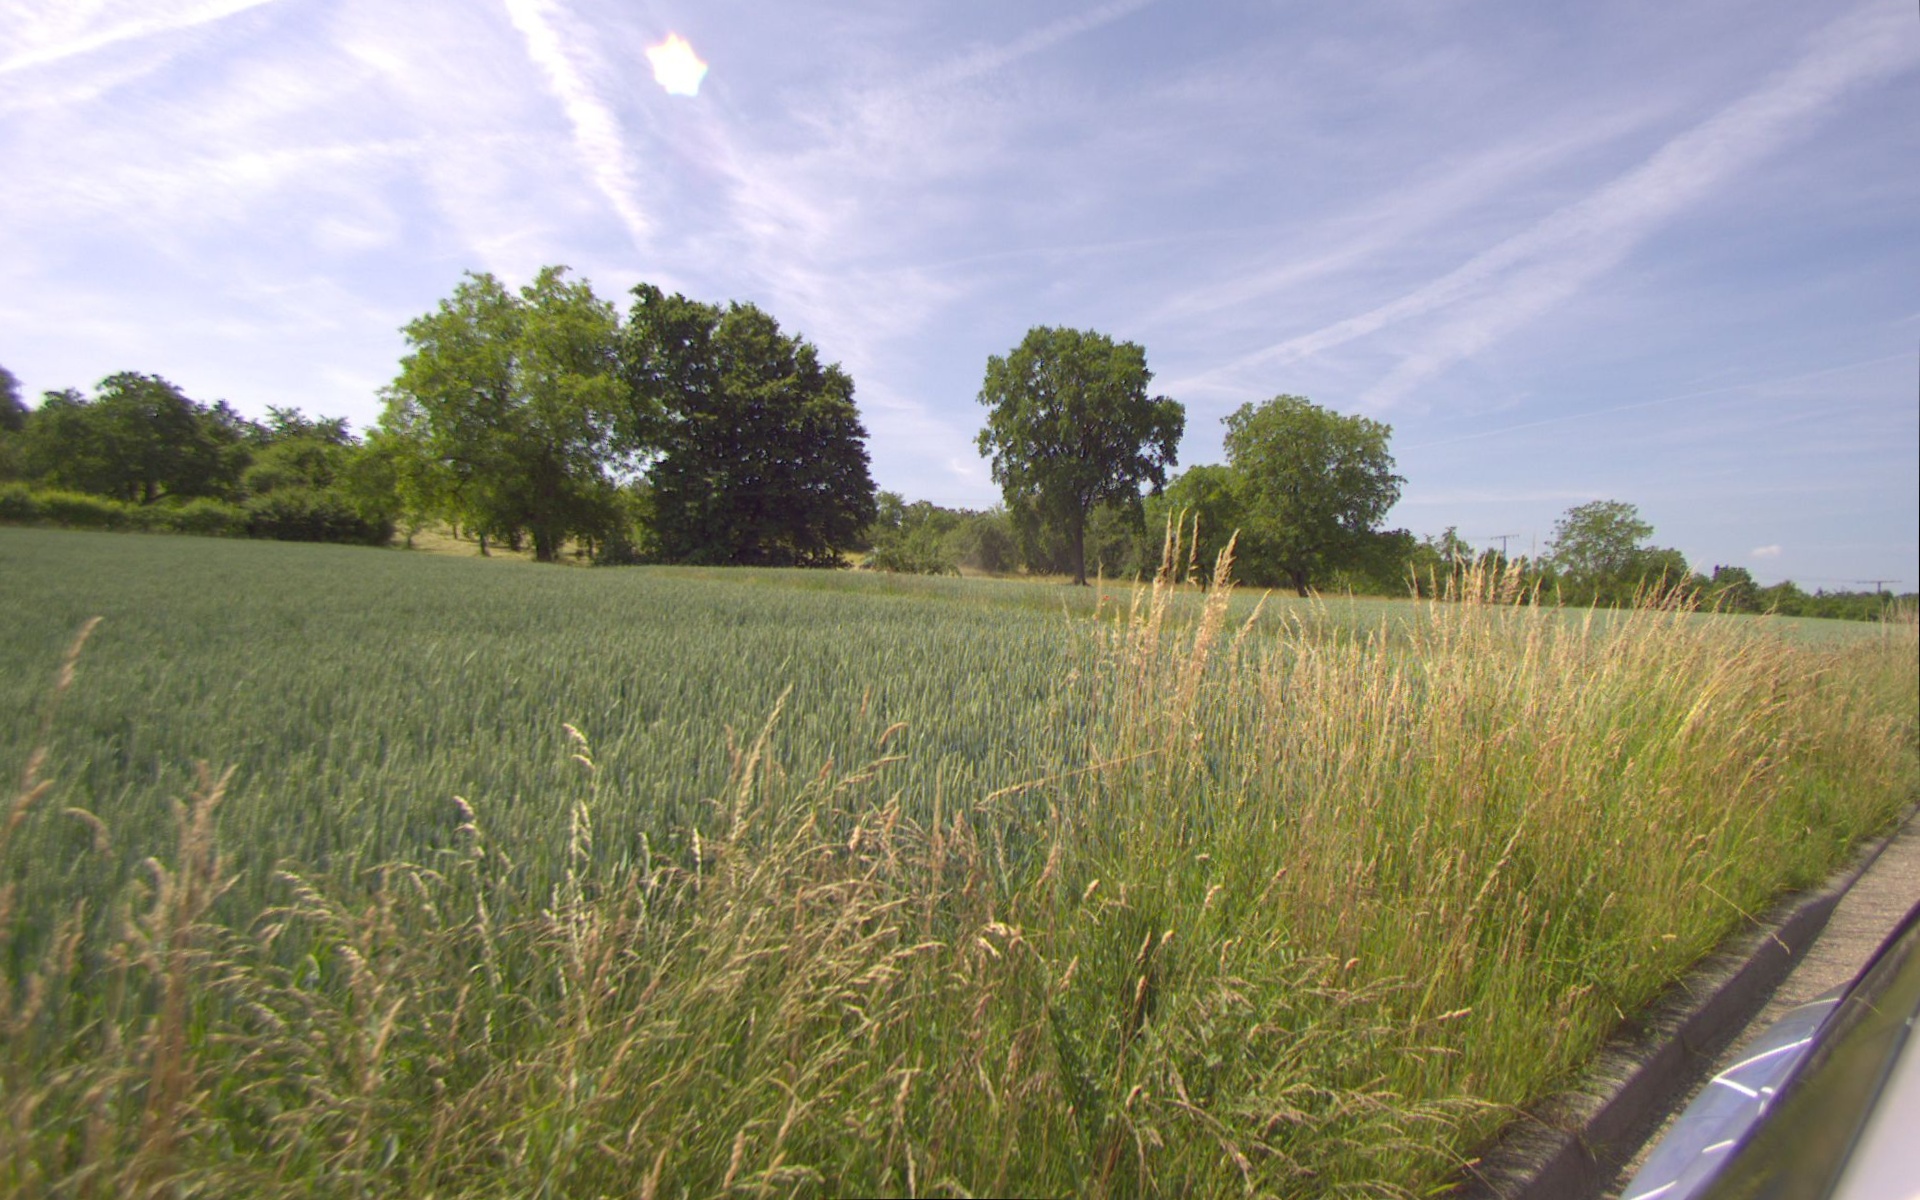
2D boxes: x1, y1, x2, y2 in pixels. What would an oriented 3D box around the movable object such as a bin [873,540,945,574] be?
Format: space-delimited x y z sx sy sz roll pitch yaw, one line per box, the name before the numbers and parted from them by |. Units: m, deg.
movable object such as a bin | -4.194 -3.483 81.543 2.401 2.398 6.576 1 4 -38
